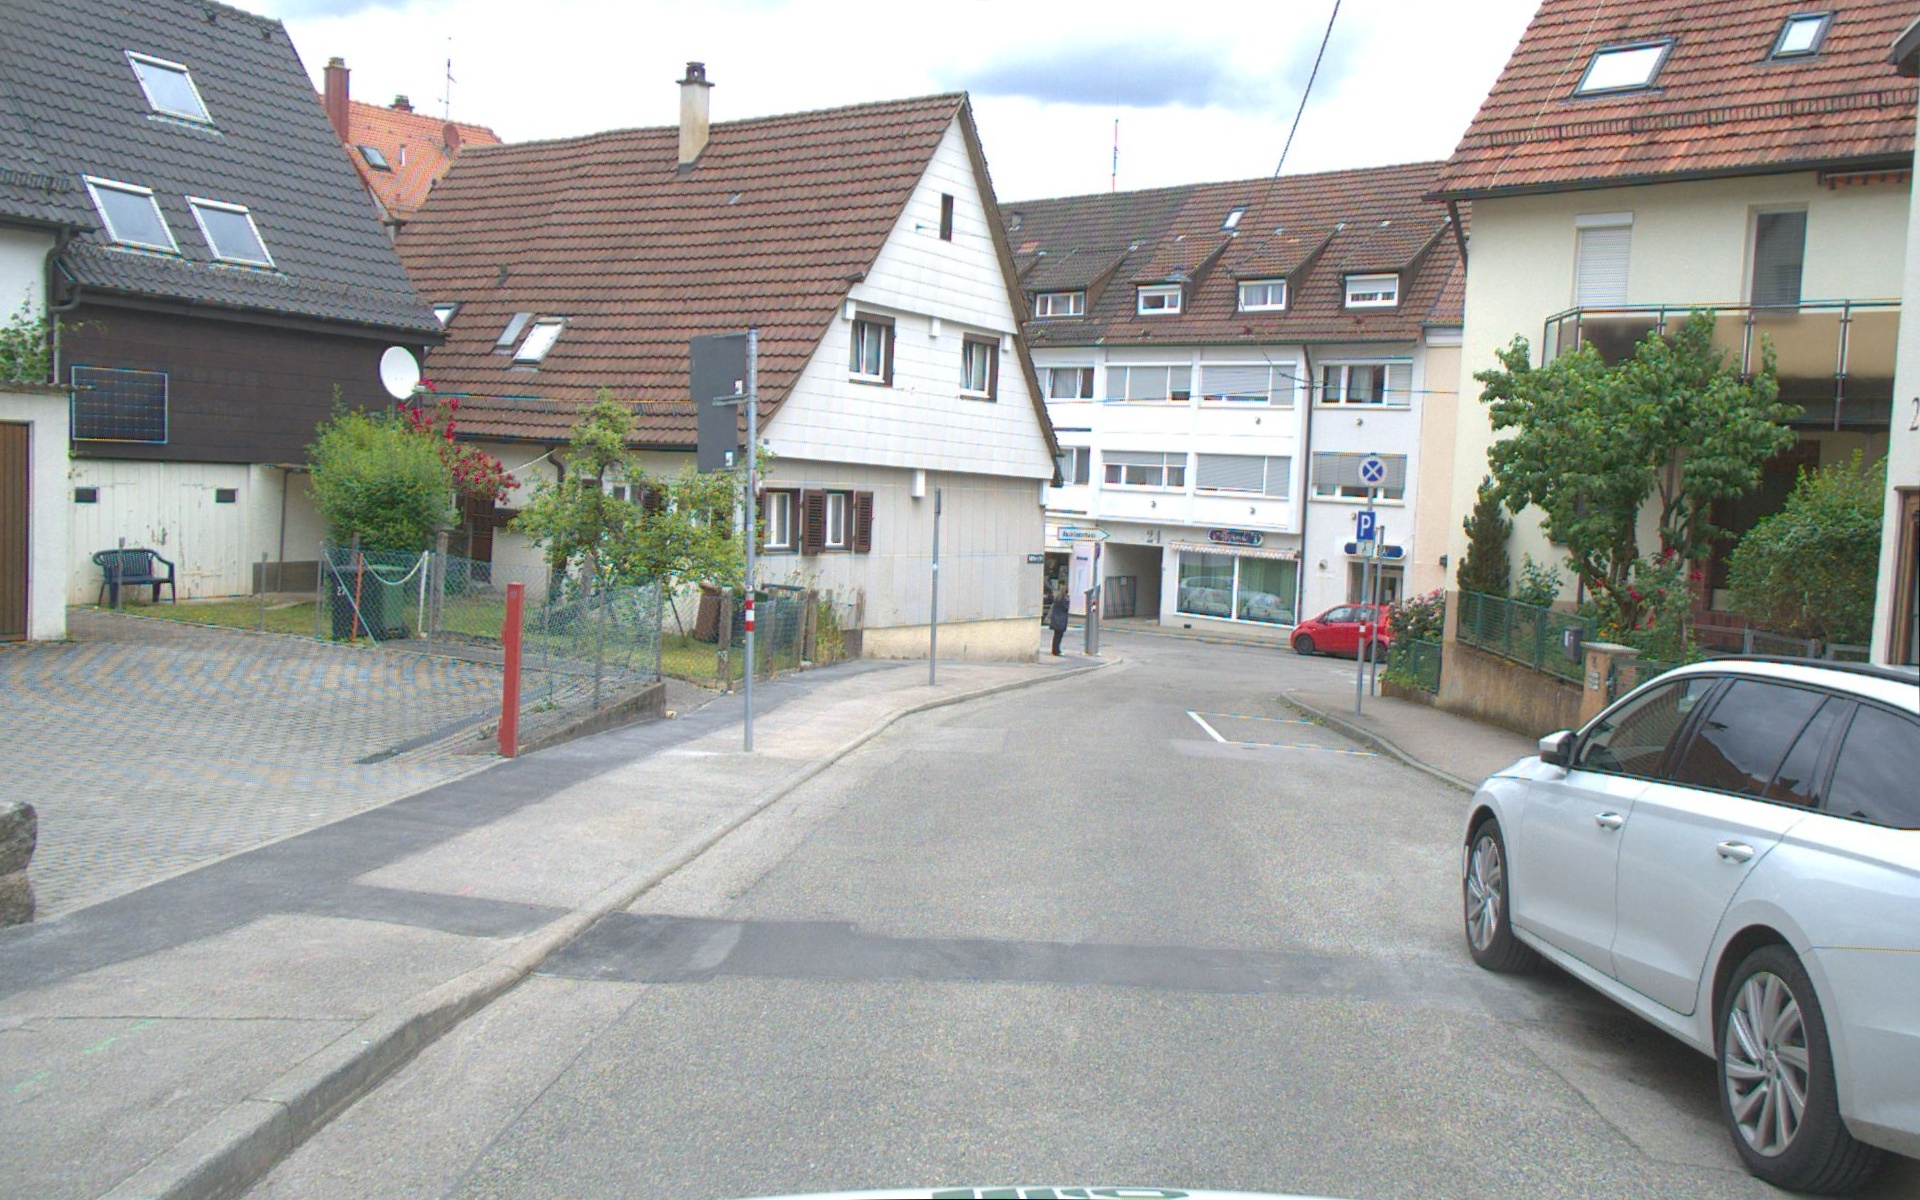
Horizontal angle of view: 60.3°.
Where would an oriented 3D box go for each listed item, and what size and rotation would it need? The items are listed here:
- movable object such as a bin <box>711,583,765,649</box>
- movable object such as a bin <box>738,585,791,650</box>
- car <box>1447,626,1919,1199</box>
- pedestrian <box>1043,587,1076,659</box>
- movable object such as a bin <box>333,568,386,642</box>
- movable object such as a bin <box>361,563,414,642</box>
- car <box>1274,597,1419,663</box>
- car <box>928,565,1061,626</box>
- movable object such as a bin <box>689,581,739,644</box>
[{"bbox_3d":[-3.381,0.244,25.218,0.518,0.932,0.489,7,0,33],"label":"movable object such as a bin"},{"bbox_3d":[-2.946,0.260,24.952,0.518,0.899,0.489,7,0,33],"label":"movable object such as a bin"},{"bbox_3d":[3.222,0.922,5.775,1.758,1.470,4.298,4,0,1],"label":"car"},{"bbox_3d":[2.427,0.552,40.460,0.633,1.714,0.605,3,1,11],"label":"pedestrian"},{"bbox_3d":[-7.524,0.061,20.736,0.368,0.909,0.490,3,0,20],"label":"movable object such as a bin"},{"bbox_3d":[-7.353,0.032,21.253,0.390,0.998,0.508,2,0,20],"label":"movable object such as a bin"},{"bbox_3d":[11.020,0.841,47.262,3.634,1.583,1.685,5,2,44],"label":"car"},{"bbox_3d":[1.152,-0.188,56.082,4.294,1.810,1.935,4,3,43],"label":"car"},{"bbox_3d":[-3.802,0.197,25.556,0.486,0.892,0.451,7,0,33],"label":"movable object such as a bin"}]
